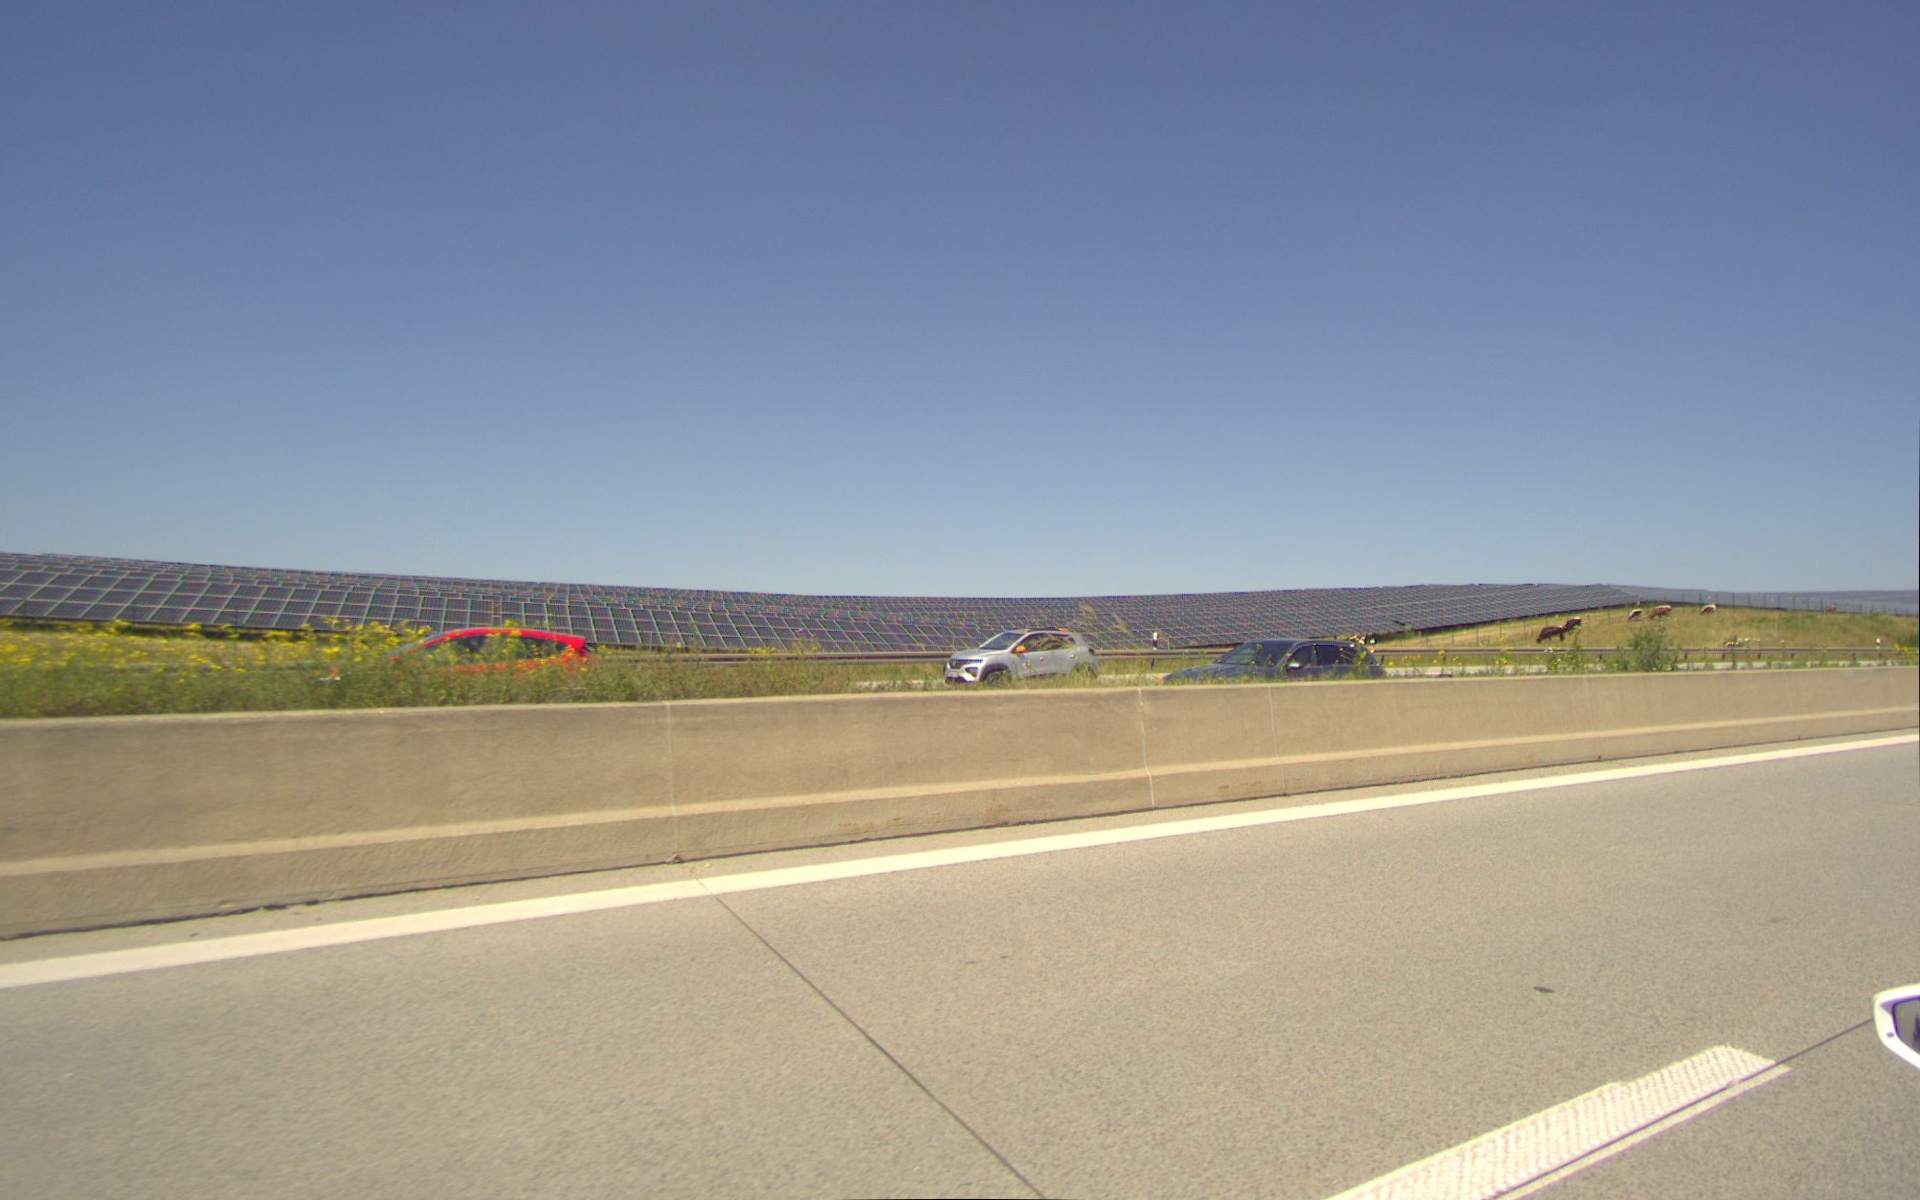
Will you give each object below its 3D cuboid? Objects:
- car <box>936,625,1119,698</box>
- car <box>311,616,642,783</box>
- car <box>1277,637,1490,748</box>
[{"bbox_3d":[1.565,1.385,23.014,3.953,1.502,1.618,2,-1,-30],"label":"car"},{"bbox_3d":[-6.726,1.299,14.192,3.953,2.040,1.791,2,-1,-30],"label":"car"},{"bbox_3d":[8.111,1.688,19.195,3.779,1.865,1.840,2,-1,-30],"label":"car"}]
